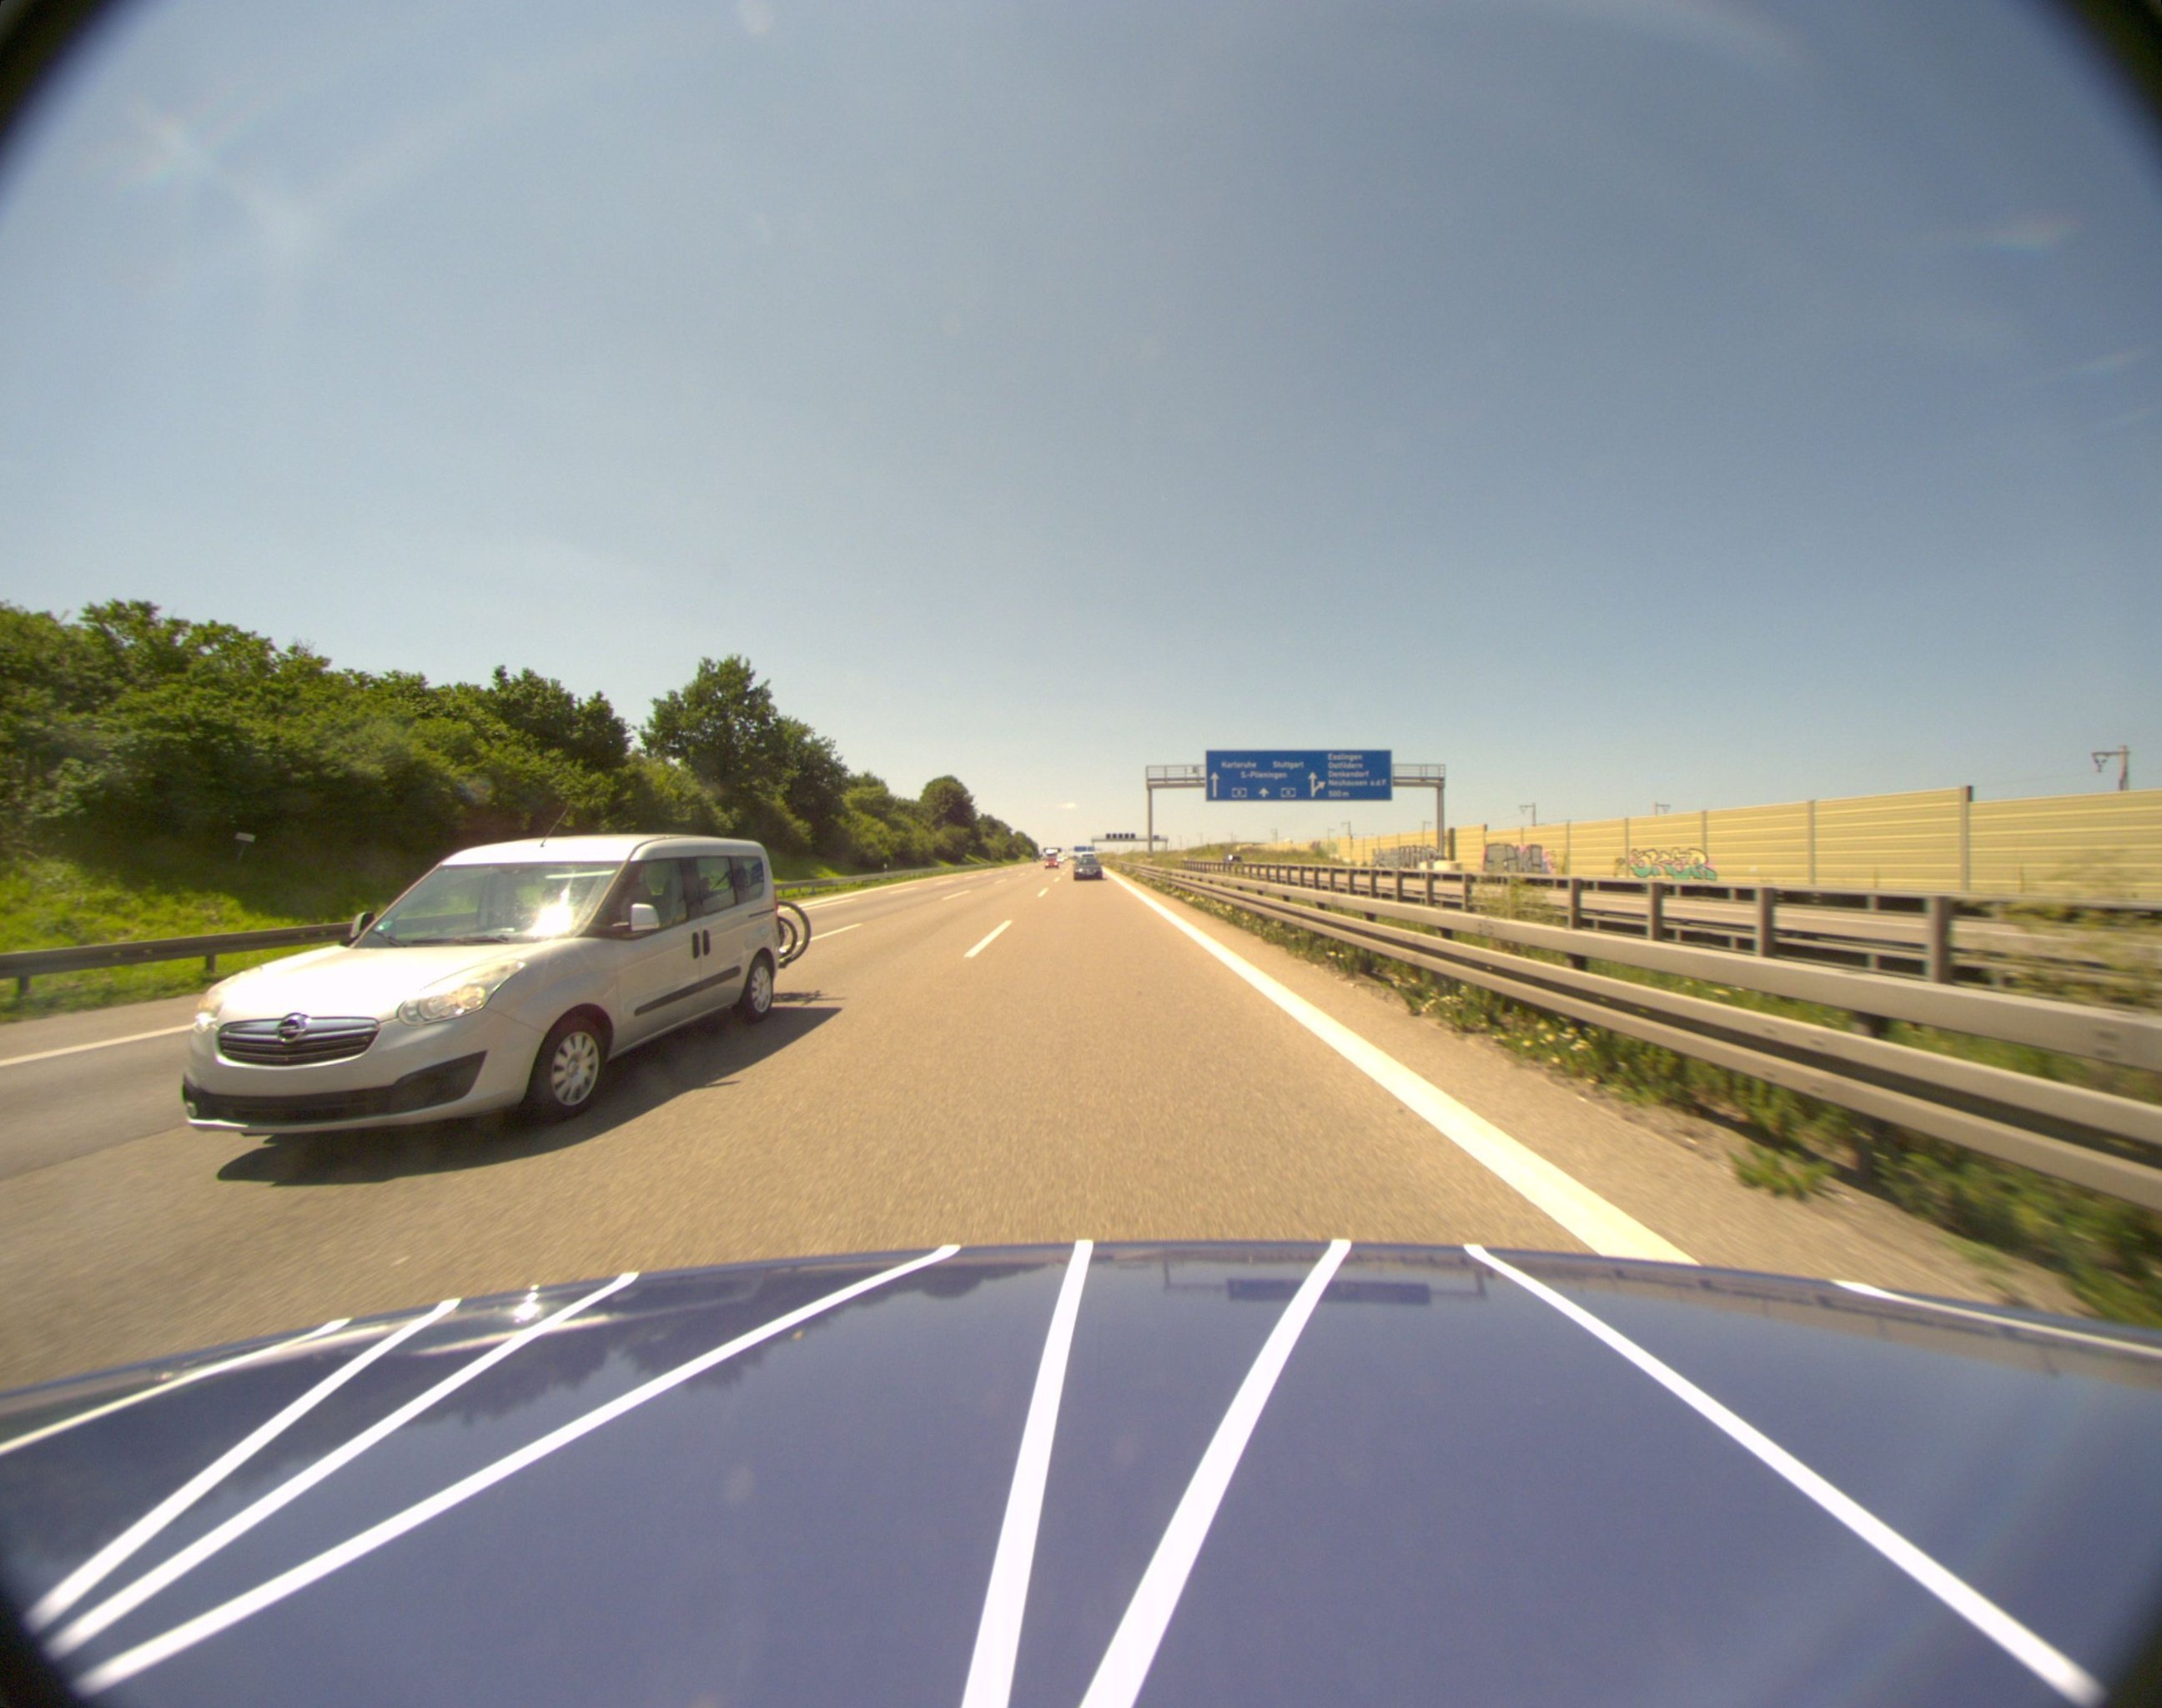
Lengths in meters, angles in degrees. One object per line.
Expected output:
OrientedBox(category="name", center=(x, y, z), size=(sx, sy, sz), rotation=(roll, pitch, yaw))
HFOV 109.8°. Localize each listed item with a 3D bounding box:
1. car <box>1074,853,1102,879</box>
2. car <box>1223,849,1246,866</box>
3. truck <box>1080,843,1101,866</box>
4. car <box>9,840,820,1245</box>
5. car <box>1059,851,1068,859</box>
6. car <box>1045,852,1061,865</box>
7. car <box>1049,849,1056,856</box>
OrientedBox(category="car", center=(0.464, 0.706, 48.431), size=(1.715, 1.586, 4.547), rotation=(0, 0, 1))
OrientedBox(category="car", center=(17.987, 0.387, 89.177), size=(1.998, 2.002, 4.000), rotation=(0, 0, 0))
OrientedBox(category="truck", center=(1.086, 0.019, 88.186), size=(2.333, 2.378, 6.686), rotation=(-2, 1, 1))
OrientedBox(category="car", center=(-4.005, 0.868, 6.183), size=(1.812, 1.836, 5.312), rotation=(-2, 0, 1))
OrientedBox(category="car", center=(-3.694, 0.142, 157.458), size=(1.723, 1.514, 3.581), rotation=(-2, 1, 1))
OrientedBox(category="car", center=(-3.544, 0.543, 96.555), size=(1.723, 1.514, 3.581), rotation=(-2, 1, 1))
OrientedBox(category="car", center=(-8.491, -0.368, 227.809), size=(1.998, 2.002, 3.999), rotation=(-2, 1, 1))
